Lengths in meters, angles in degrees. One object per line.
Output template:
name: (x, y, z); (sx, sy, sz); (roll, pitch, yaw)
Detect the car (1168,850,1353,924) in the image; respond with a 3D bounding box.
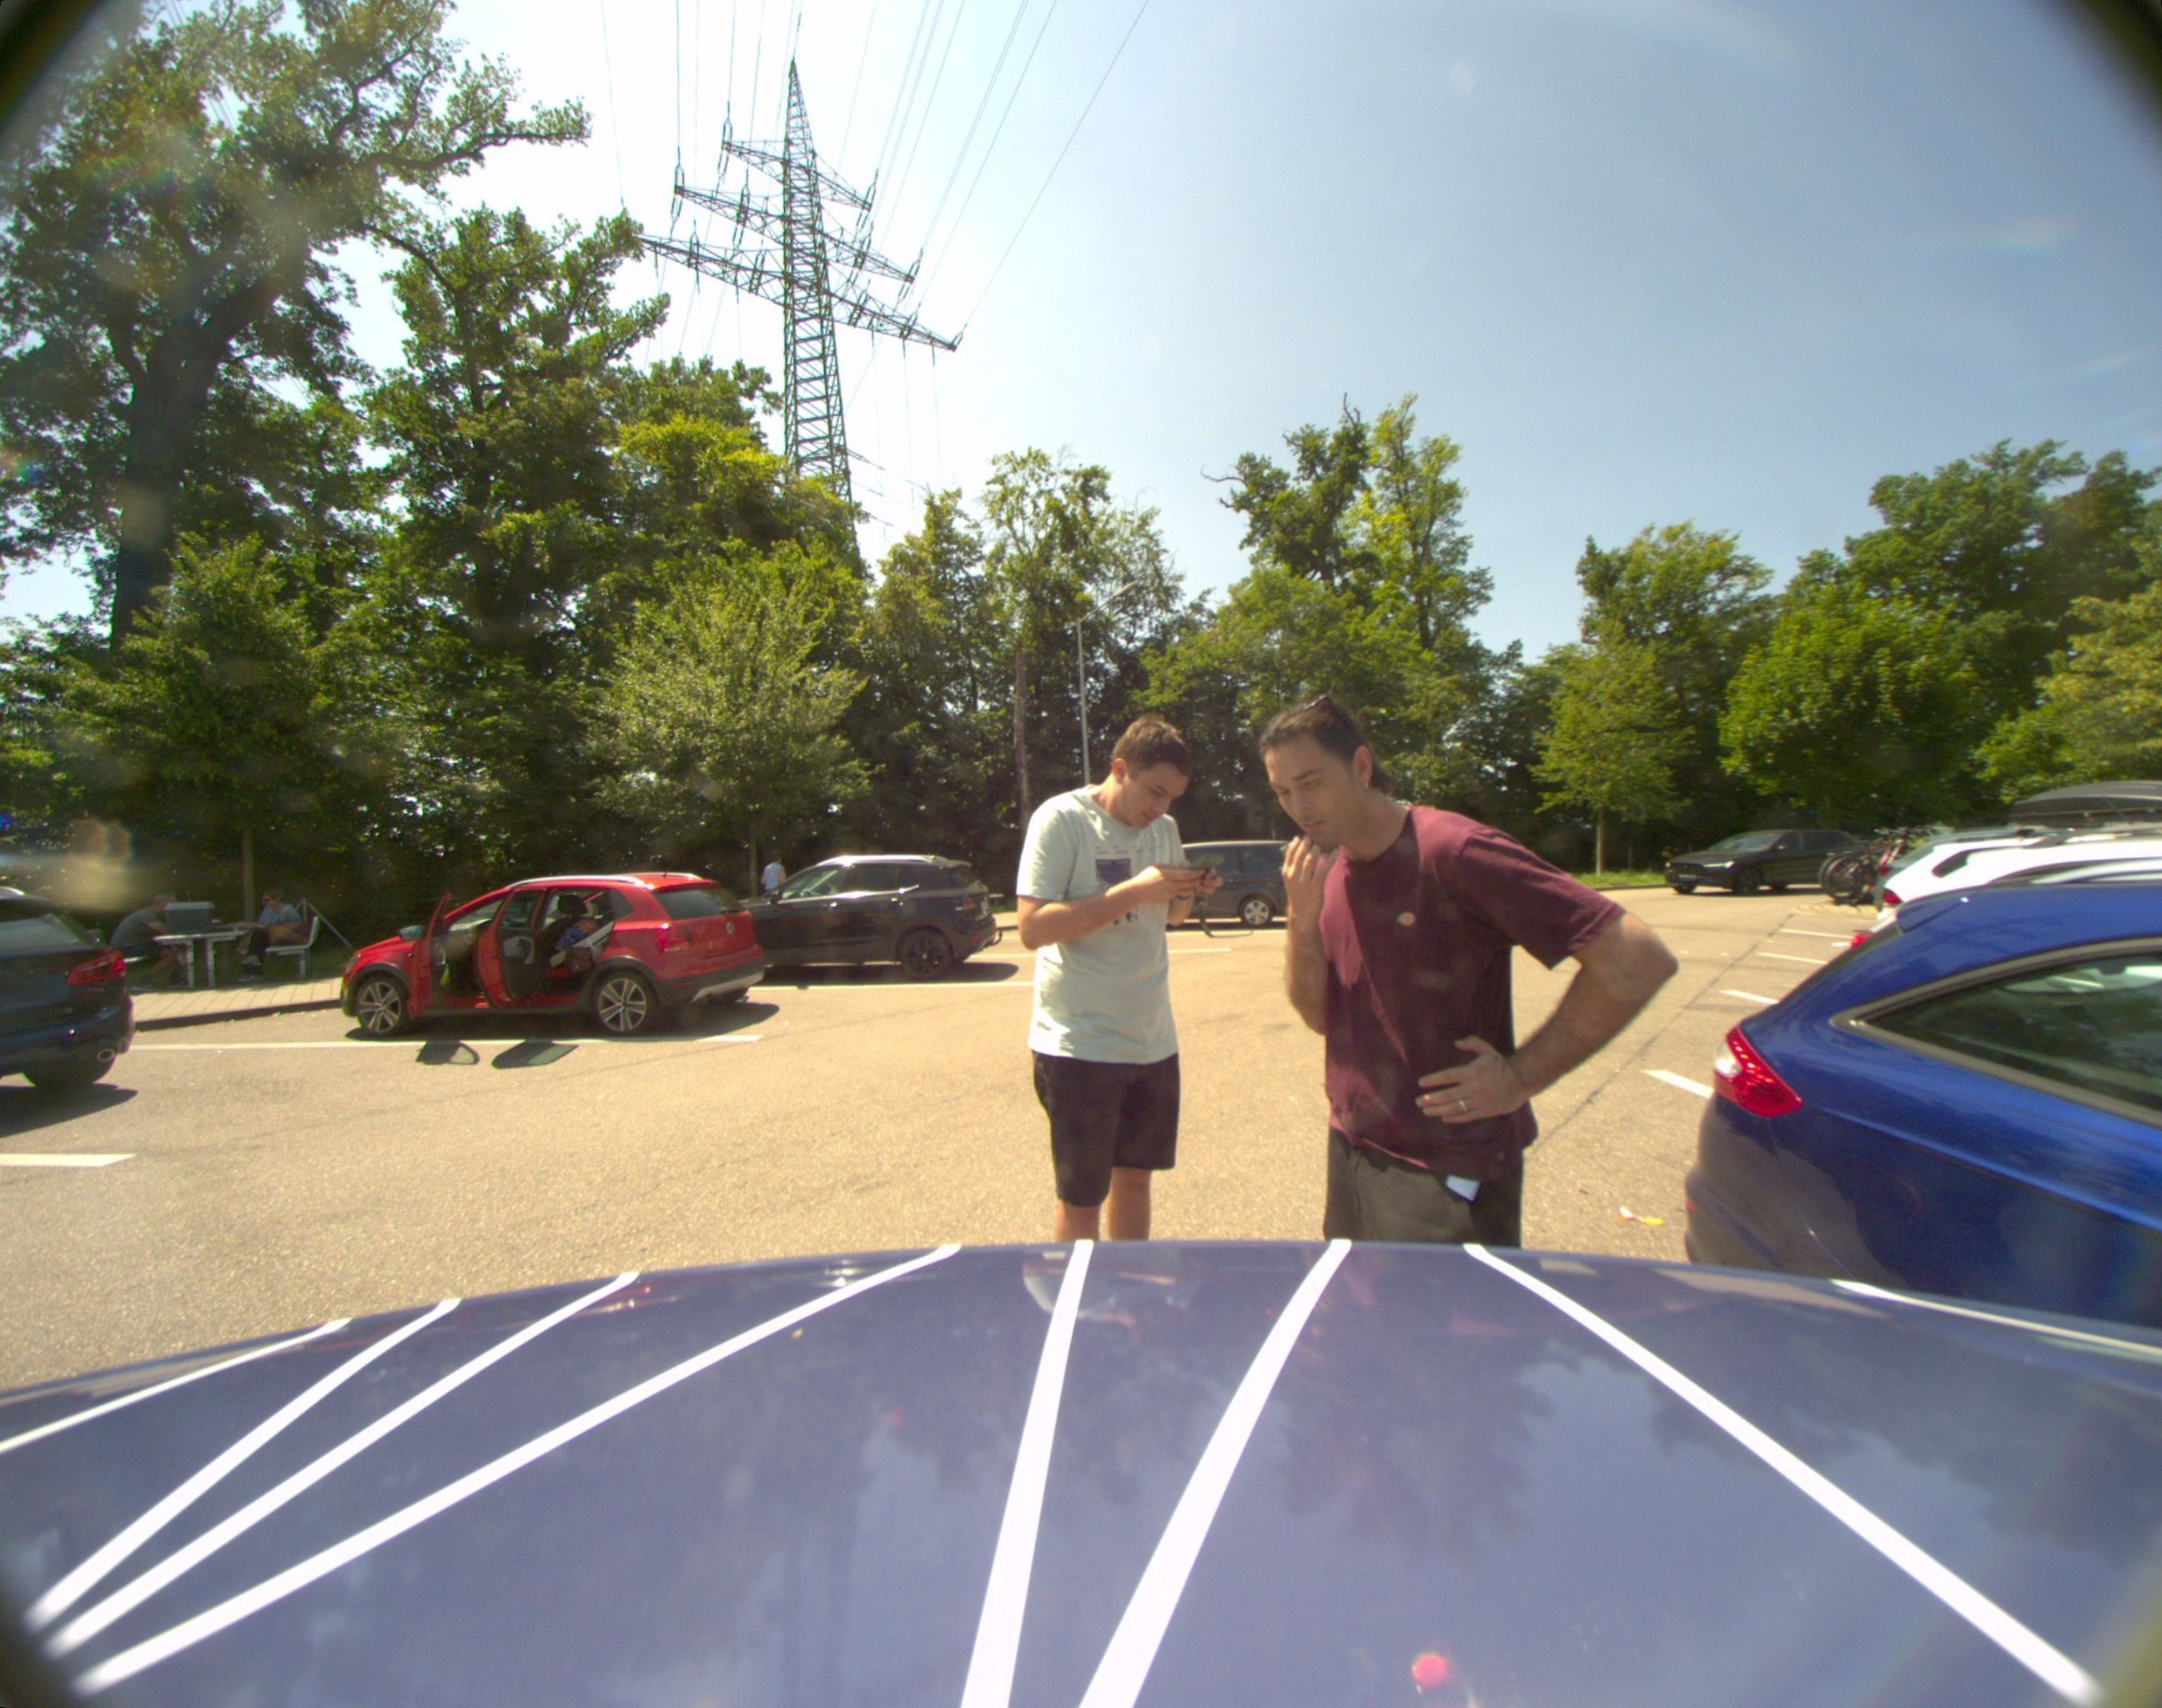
car: (4.134, 0.746, 17.991); (3.996, 1.495, 1.687); (-2, 1, 3)

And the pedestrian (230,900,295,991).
pedestrian: (-11.959, 1.315, 11.108); (0.695, 1.228, 0.588); (-3, 0, 43)

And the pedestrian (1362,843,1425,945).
pedestrian: (5.191, 0.655, 12.667); (0.832, 1.653, 0.676); (-2, 0, 13)

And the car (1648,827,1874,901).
car: (17.841, 0.234, 20.034); (4.618, 1.703, 1.998); (-2, 1, -10)

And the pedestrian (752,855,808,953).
pedestrian: (-5.754, 0.955, 14.548); (0.764, 1.821, 0.521); (-2, 1, 12)

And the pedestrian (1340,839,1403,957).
pedestrian: (4.454, 0.656, 11.624); (0.832, 1.722, 0.677); (-2, 0, 23)

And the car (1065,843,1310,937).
car: (2.130, 0.716, 15.453); (4.619, 1.701, 1.740); (-2, 0, 9)

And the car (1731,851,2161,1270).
car: (4.864, 0.743, 2.335); (1.776, 1.491, 4.495); (-3, -1, -1)

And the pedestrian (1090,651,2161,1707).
pedestrian: (0.613, 0.763, 1.144); (0.862, 1.823, 0.862); (-2, 1, 23)

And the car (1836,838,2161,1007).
car: (10.100, 0.571, 6.881); (1.777, 1.418, 4.493); (-3, -1, -5)

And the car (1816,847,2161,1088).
car: (7.467, 0.675, 4.494); (1.776, 1.418, 4.495); (-3, -1, -1)

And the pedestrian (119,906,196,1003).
pedestrian: (-12.640, 1.349, 10.419); (0.695, 1.228, 0.588); (-3, 0, 43)

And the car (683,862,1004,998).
car: (-3.041, 0.954, 10.295); (3.732, 1.578, 1.739); (-2, 0, 2)

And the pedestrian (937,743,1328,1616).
pedestrian: (0.083, 0.719, 2.099); (0.861, 1.940, 0.688); (-2, 1, -11)

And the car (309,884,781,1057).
car: (-5.198, 1.097, 7.618); (3.730, 1.440, 1.591); (-2, 0, 7)

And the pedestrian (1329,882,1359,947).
pedestrian: (4.380, 0.992, 12.645); (0.433, 1.038, 0.440); (-2, 0, 21)

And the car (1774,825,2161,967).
car: (12.531, 0.477, 10.352); (1.777, 1.541, 4.493); (-3, -1, -5)

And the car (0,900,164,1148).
car: (-8.893, 1.169, 4.973); (3.934, 1.534, 1.812); (-2, 0, 7)
